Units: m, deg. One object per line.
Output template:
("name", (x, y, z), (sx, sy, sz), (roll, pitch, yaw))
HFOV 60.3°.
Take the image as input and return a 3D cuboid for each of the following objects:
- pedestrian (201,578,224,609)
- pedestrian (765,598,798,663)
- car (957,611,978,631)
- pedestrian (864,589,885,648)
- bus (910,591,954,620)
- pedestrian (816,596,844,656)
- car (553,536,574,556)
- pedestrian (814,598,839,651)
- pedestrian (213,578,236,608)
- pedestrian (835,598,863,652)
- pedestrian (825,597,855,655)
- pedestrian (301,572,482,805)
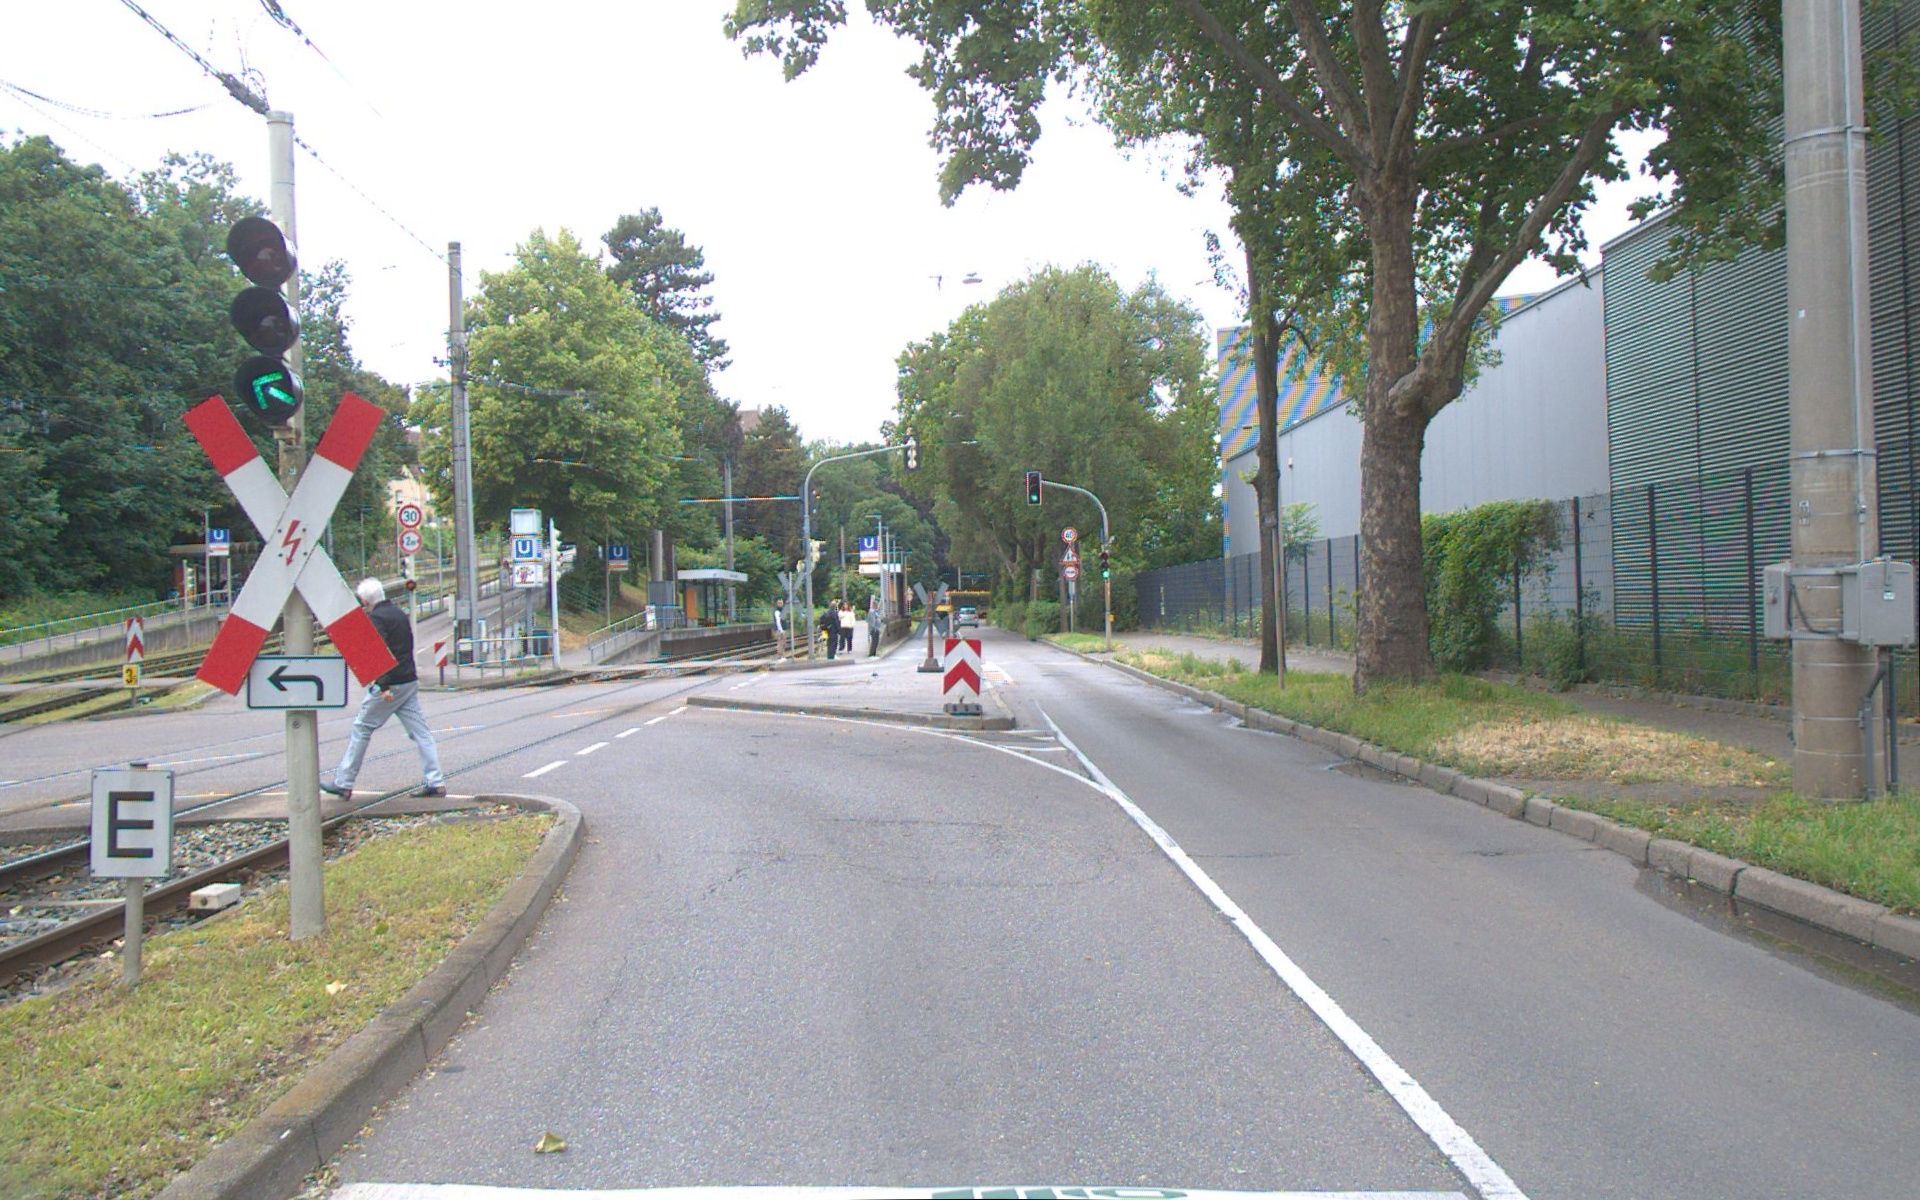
("pedestrian", (-33.556, -0.292, 74.227), (0.757, 1.349, 0.786), (1, 2, -9))
("pedestrian", (-5.106, 0.870, 47.281), (0.790, 1.853, 0.667), (1, -1, -19))
("car", (0.611, 1.725, 137.852), (1.708, 1.627, 3.999), (1, 0, -1))
("pedestrian", (-2.609, 0.575, 50.686), (0.538, 1.789, 0.738), (1, -1, 4))
("bus", (-3.564, 0.720, 212.163), (2.677, 3.690, 8.943), (1, 0, 20))
("pedestrian", (-3.677, 0.737, 46.856), (0.720, 1.694, 0.682), (1, -1, 1))
("car", (-46.870, -6.334, 195.519), (1.956, 2.183, 3.992), (1, 0, -9))
("pedestrian", (-4.304, 0.786, 53.415), (0.722, 1.694, 0.680), (1, -1, -11))
("pedestrian", (-33.495, -0.298, 75.316), (0.757, 1.349, 0.785), (1, -1, -9))
("pedestrian", (-3.533, 0.786, 52.495), (0.723, 1.694, 0.678), (1, -1, -17))
("pedestrian", (-3.601, 0.776, 49.688), (0.665, 1.694, 0.738), (1, -1, 14))
("pedestrian", (-4.545, 0.688, 13.278), (1.093, 1.791, 0.814), (1, -1, 8))
